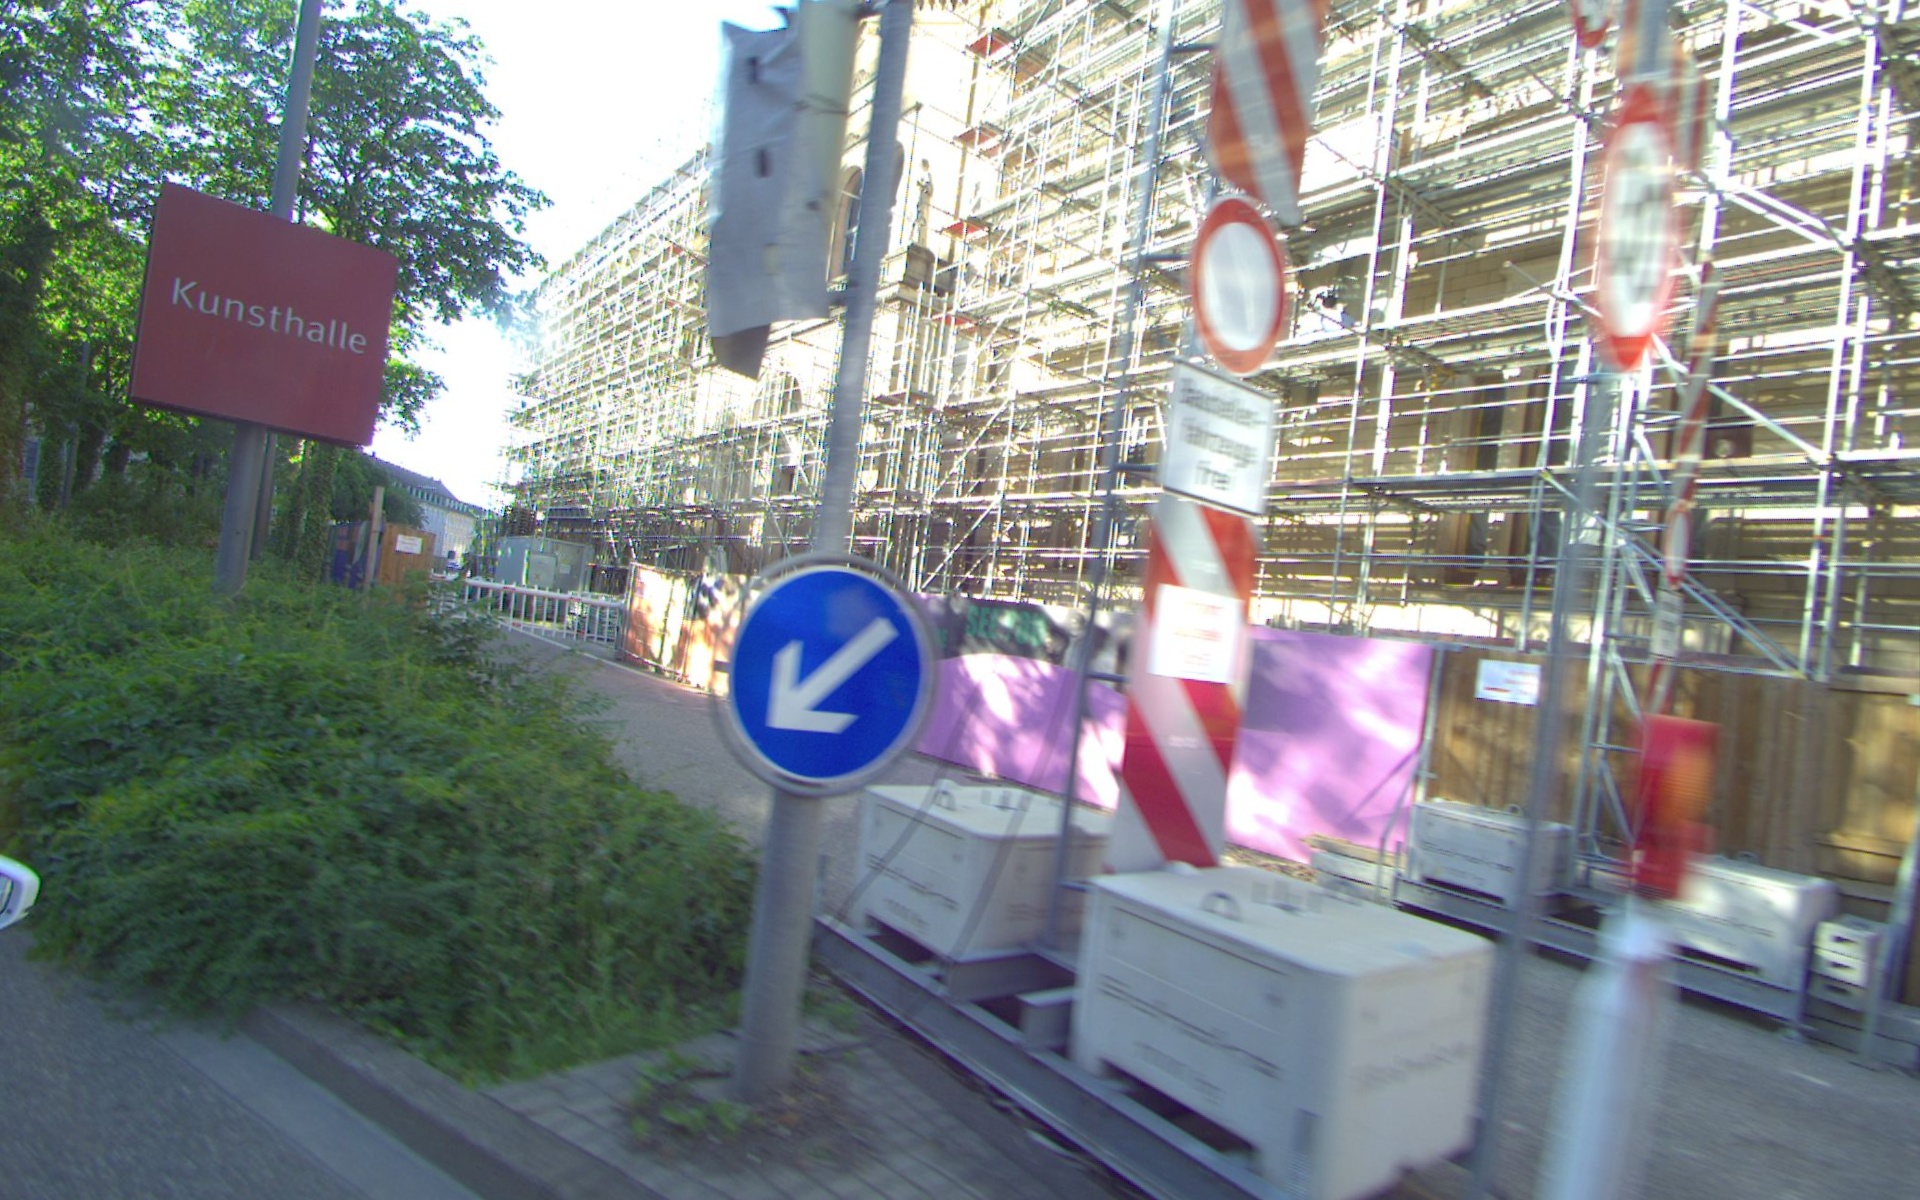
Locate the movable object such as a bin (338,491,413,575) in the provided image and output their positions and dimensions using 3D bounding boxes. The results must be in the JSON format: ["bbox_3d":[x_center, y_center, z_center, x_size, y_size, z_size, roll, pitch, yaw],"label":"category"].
[{"bbox_3d":[-36.955,-4.159,63.904,3.278,4.594,7.852,7,-1,-27],"label":"movable object such as a bin"}]
